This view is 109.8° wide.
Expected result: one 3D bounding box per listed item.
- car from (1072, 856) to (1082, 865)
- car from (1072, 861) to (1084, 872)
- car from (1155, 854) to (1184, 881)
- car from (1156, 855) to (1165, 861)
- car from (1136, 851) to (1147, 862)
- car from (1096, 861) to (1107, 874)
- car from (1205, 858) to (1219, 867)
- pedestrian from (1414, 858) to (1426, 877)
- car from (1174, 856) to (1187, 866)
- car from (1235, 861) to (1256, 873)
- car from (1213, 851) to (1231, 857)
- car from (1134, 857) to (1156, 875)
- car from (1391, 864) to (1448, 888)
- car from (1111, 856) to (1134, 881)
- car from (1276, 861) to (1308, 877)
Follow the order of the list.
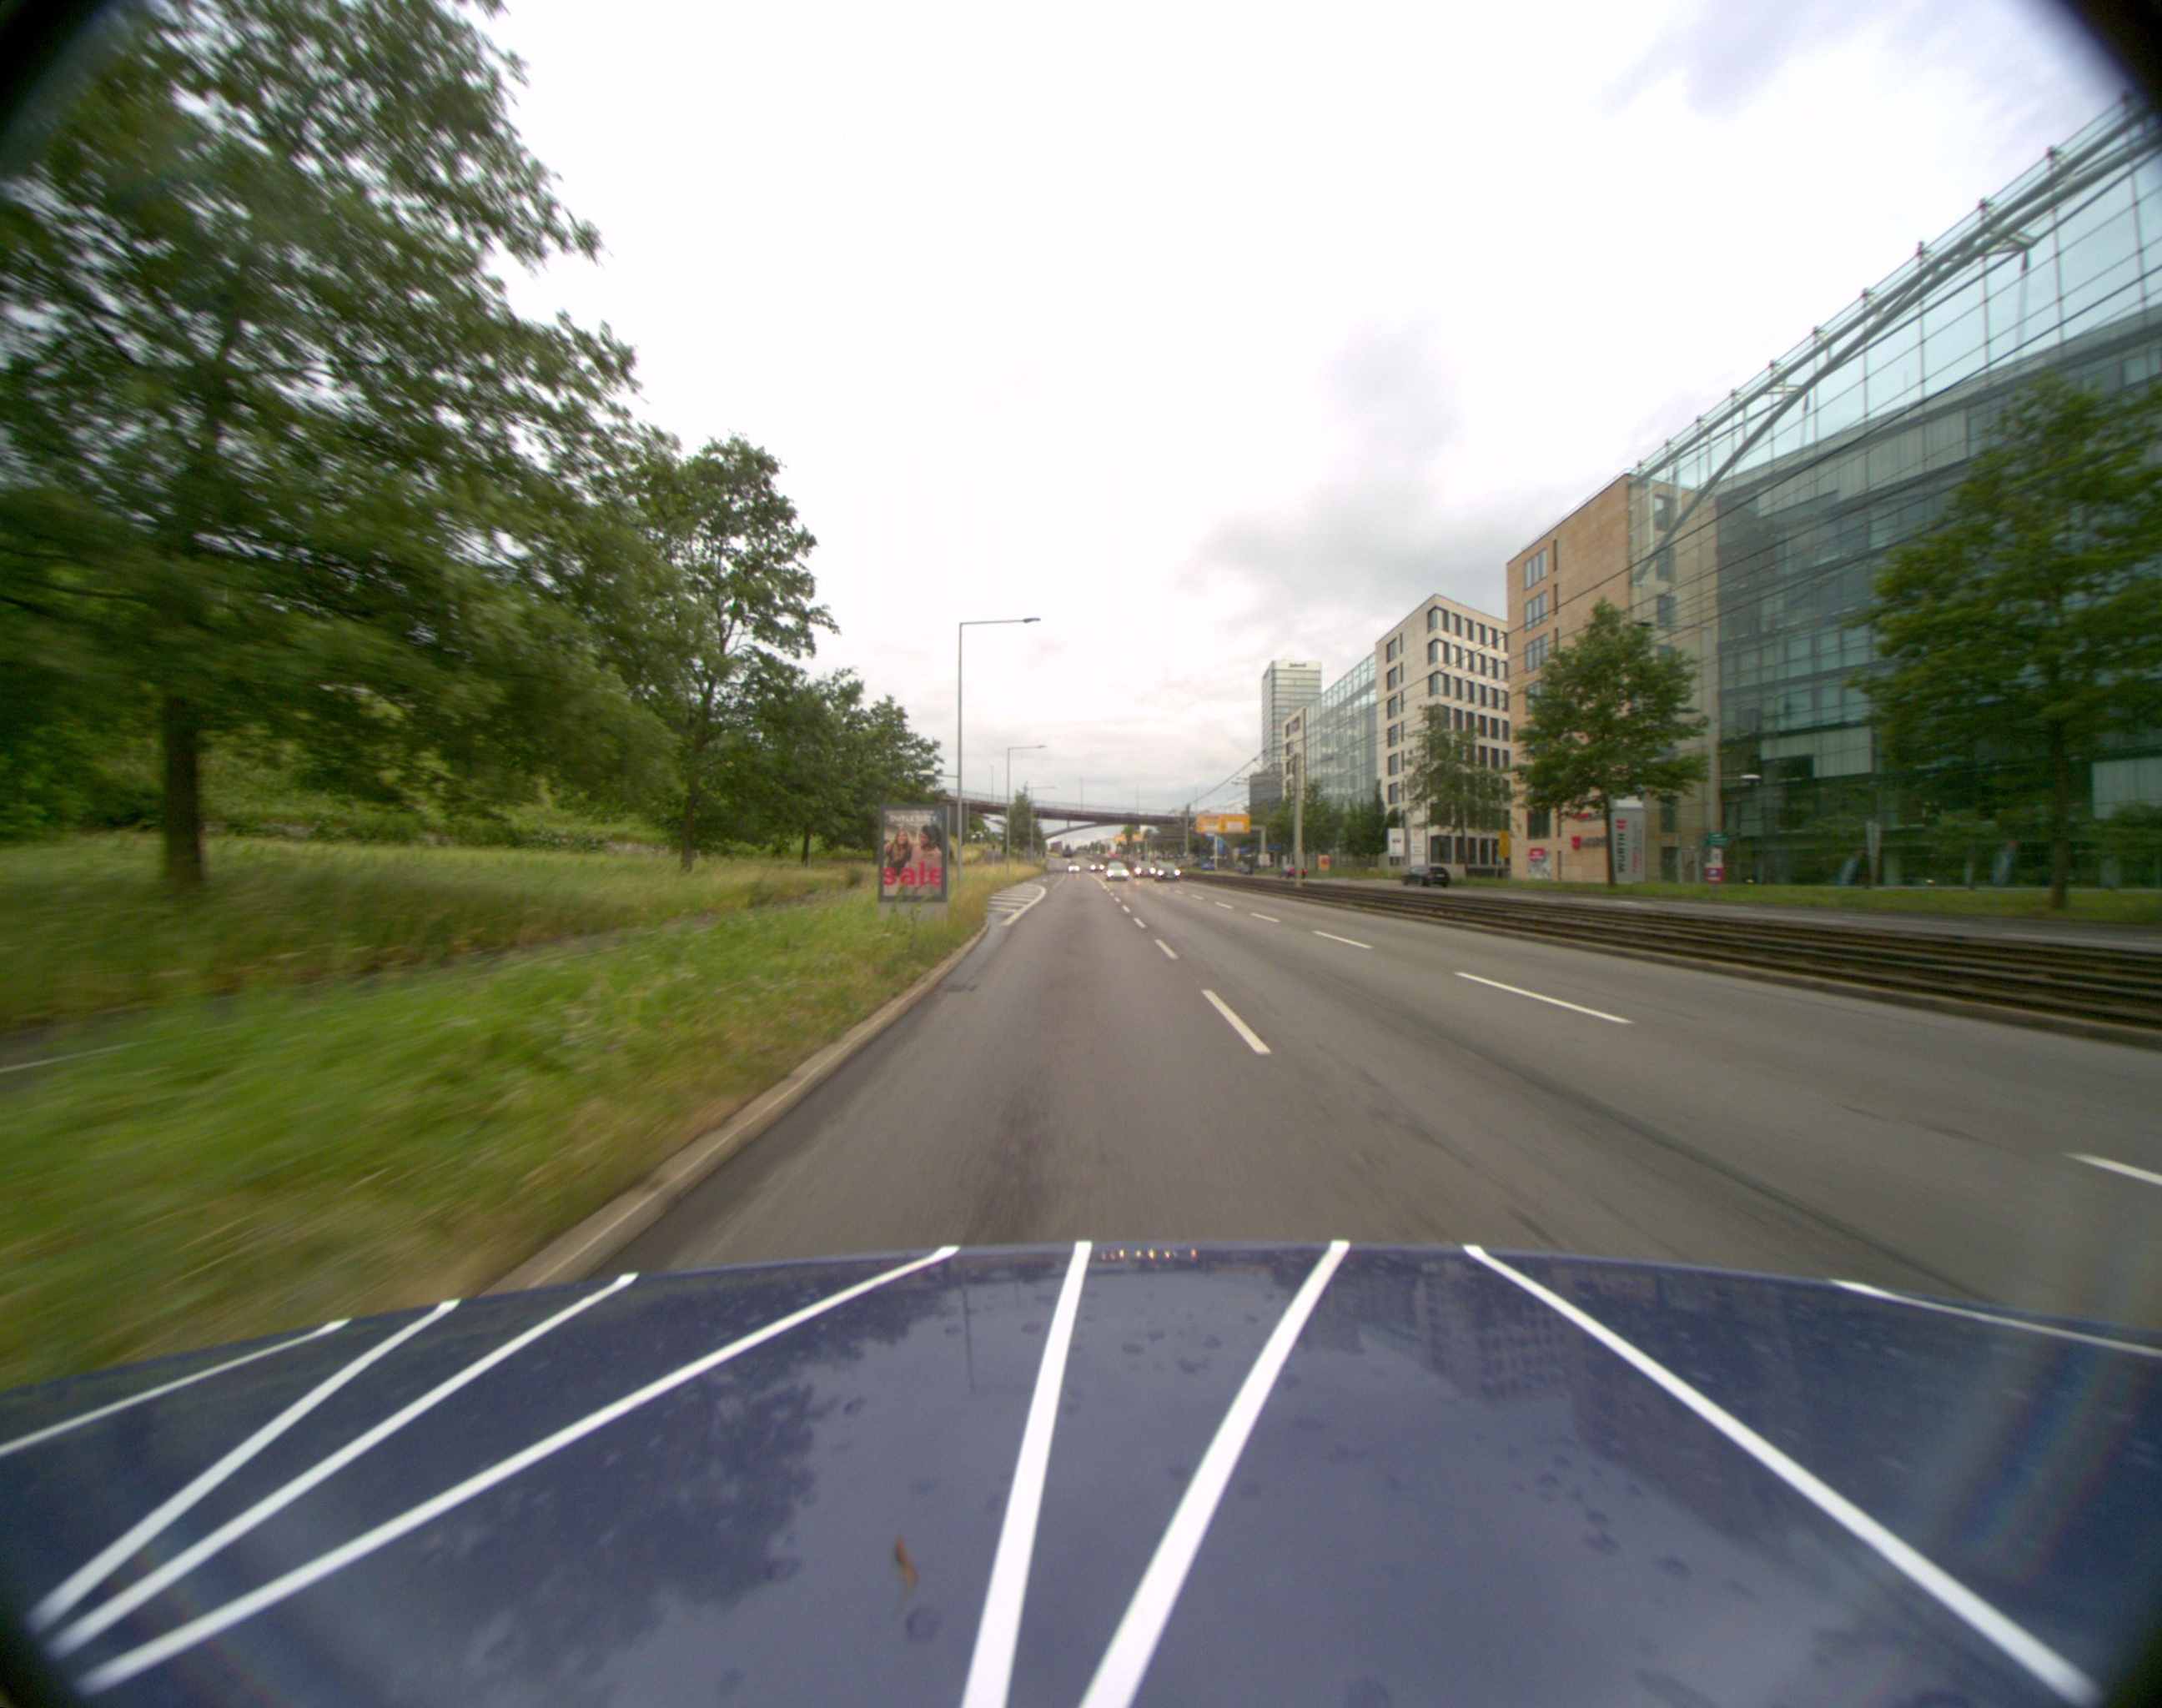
[{"bbox_3d":[-0.788,1.229,142.258,1.794,1.621,4.376,-2,1,0],"label":"car"},{"bbox_3d":[-0.505,1.995,123.636,1.794,1.621,4.376,-2,1,1],"label":"car"},{"bbox_3d":[6.820,1.026,58.852,1.794,1.858,4.376,-2,1,1],"label":"car"},{"bbox_3d":[20.041,1.006,190.904,1.764,1.524,4.817,-2,0,0],"label":"car"},{"bbox_3d":[15.858,0.688,198.869,2.390,2.801,5.611,-2,0,-1],"label":"car"},{"bbox_3d":[3.302,2.221,122.436,1.794,1.858,4.376,-2,1,1],"label":"car"},{"bbox_3d":[24.038,1.636,139.884,1.845,1.446,4.023,-2,1,1],"label":"car"},{"bbox_3d":[31.098,1.227,69.707,0.643,1.622,0.831,-2,2,-3],"label":"pedestrian"},{"bbox_3d":[17.204,1.178,131.126,1.776,1.493,4.199,-2,1,2],"label":"car"},{"bbox_3d":[21.704,1.680,100.439,1.845,1.477,4.654,2,0,0],"label":"car"},{"bbox_3d":[36.835,0.060,199.013,4.363,1.495,1.885,-2,2,2],"label":"car"},{"bbox_3d":[6.220,1.160,74.323,1.794,1.535,4.376,-2,1,1],"label":"car"},{"bbox_3d":[22.962,1.432,51.732,1.845,1.477,4.430,2,0,0],"label":"car"},{"bbox_3d":[3.499,1.205,65.090,1.794,1.858,4.376,-2,1,1],"label":"car"},{"bbox_3d":[20.859,1.439,75.253,1.845,1.477,4.654,2,0,0],"label":"car"}]
